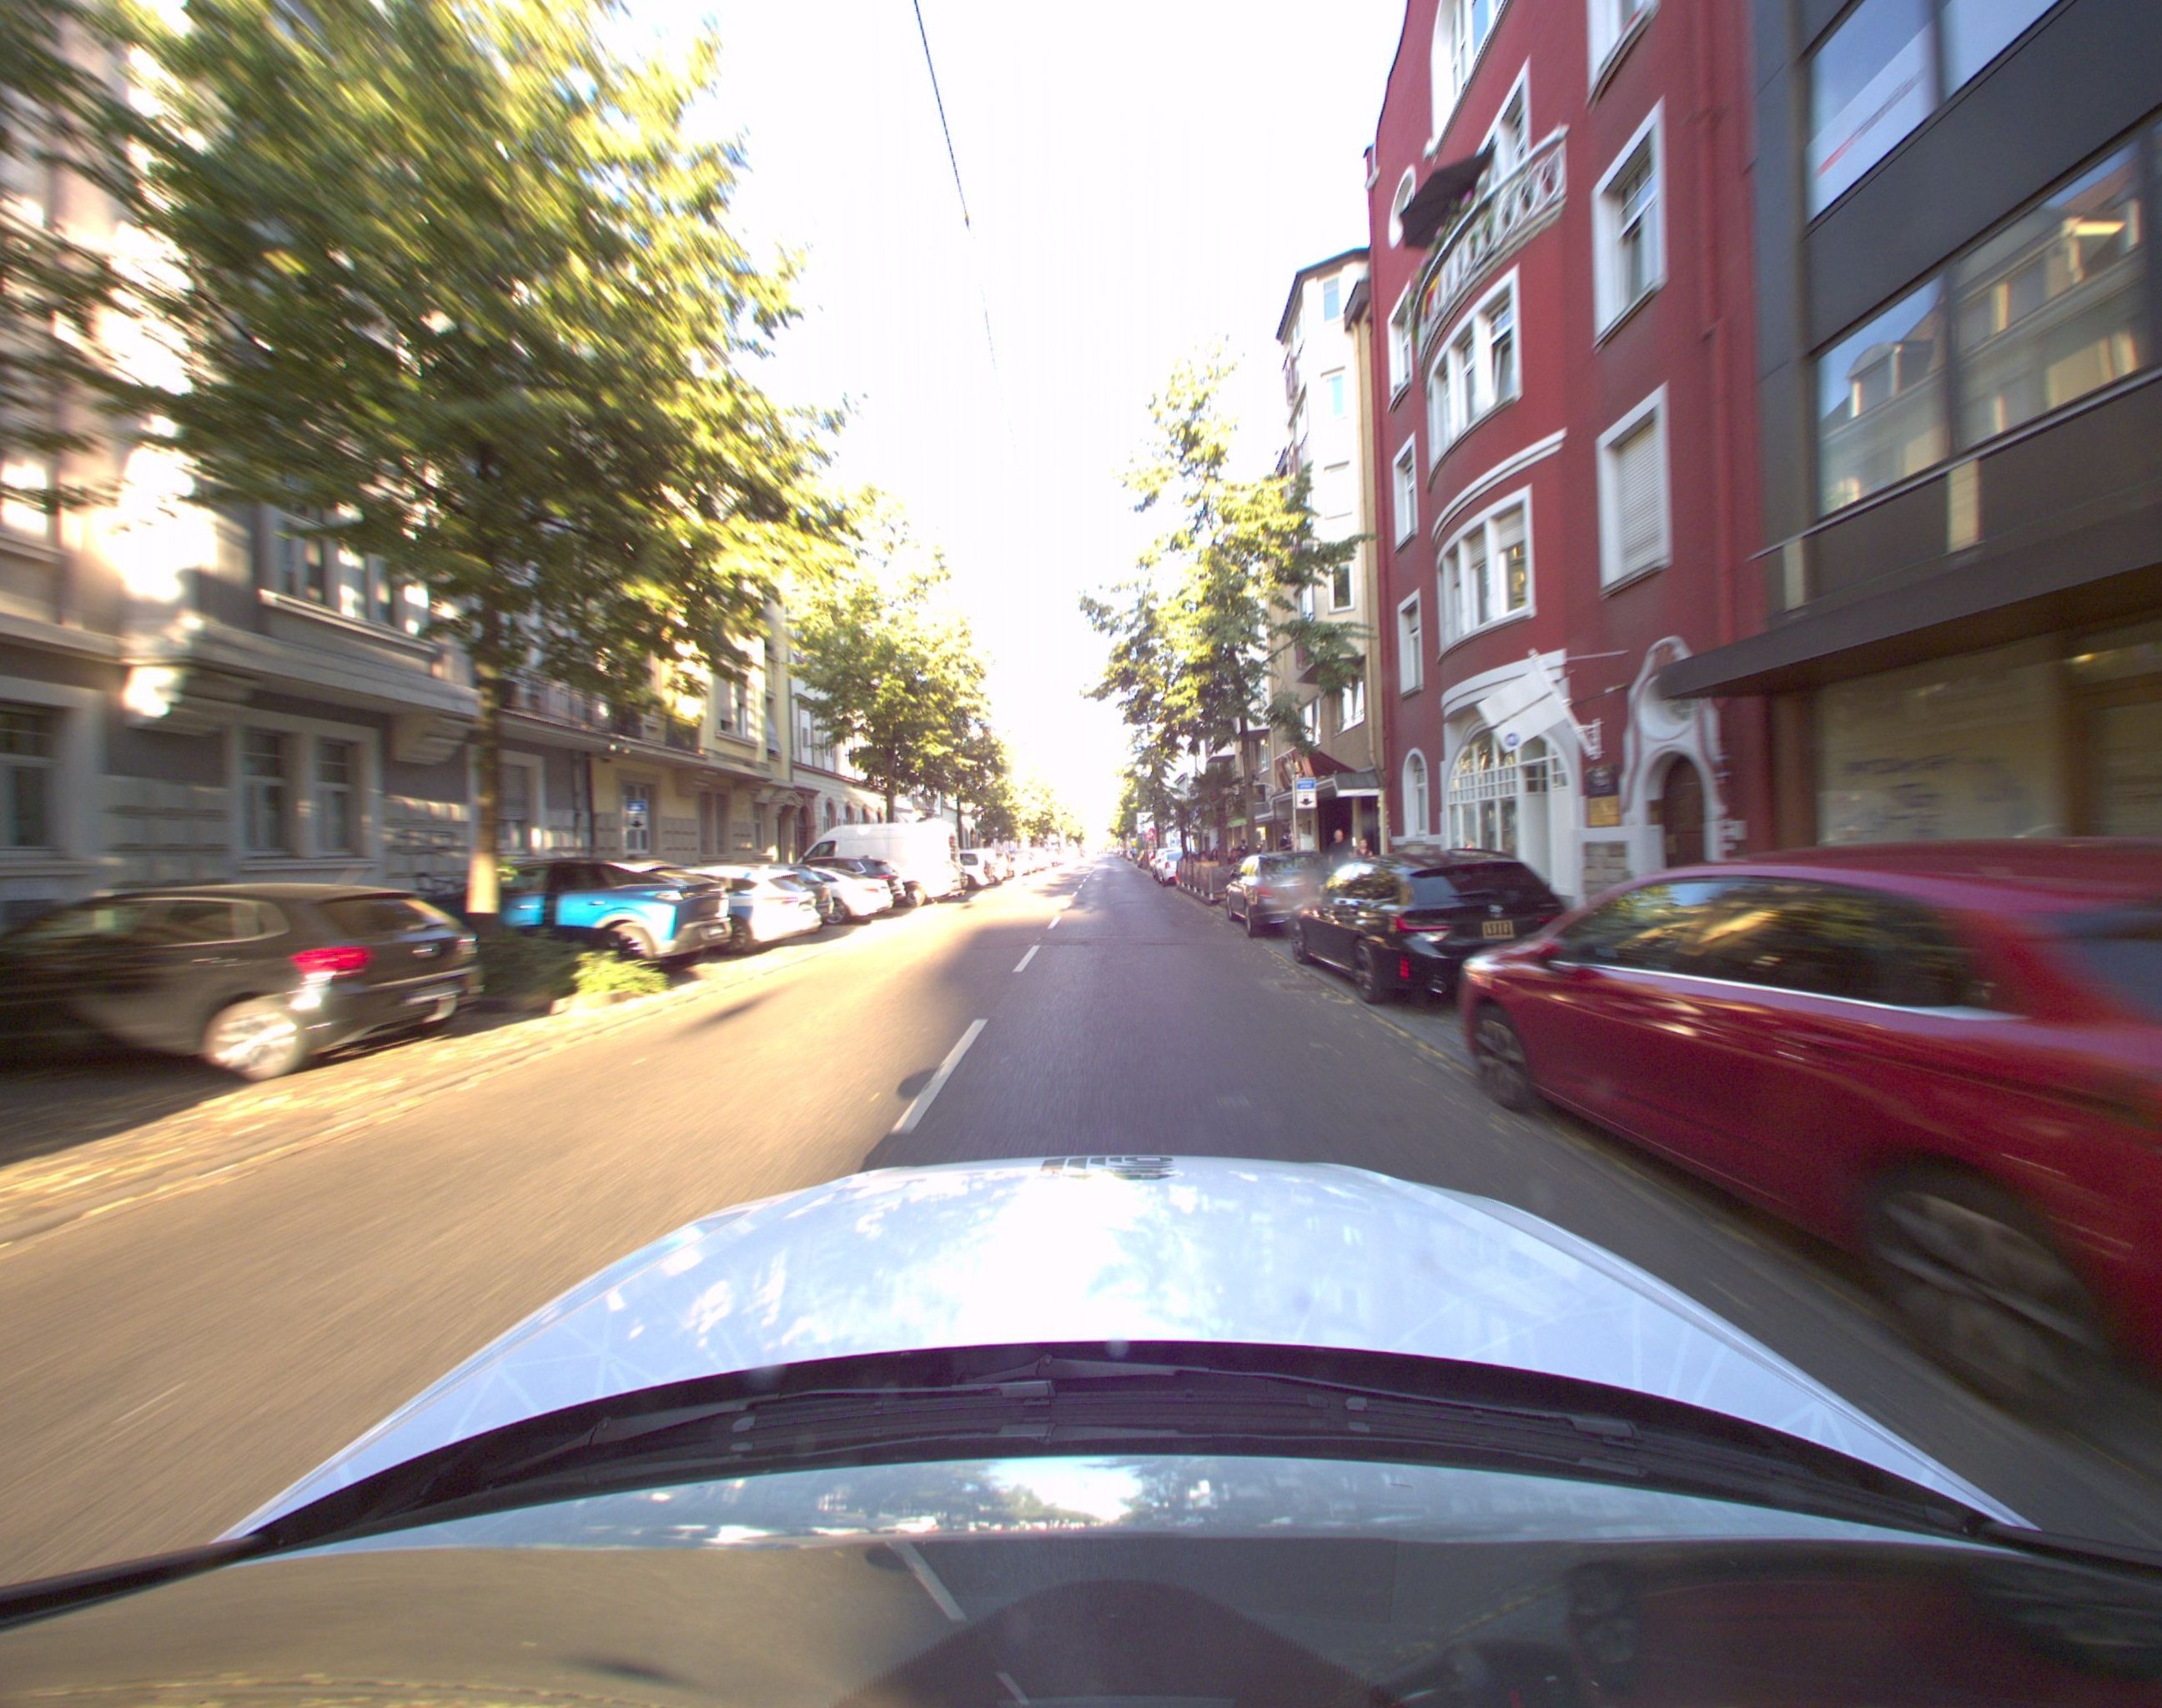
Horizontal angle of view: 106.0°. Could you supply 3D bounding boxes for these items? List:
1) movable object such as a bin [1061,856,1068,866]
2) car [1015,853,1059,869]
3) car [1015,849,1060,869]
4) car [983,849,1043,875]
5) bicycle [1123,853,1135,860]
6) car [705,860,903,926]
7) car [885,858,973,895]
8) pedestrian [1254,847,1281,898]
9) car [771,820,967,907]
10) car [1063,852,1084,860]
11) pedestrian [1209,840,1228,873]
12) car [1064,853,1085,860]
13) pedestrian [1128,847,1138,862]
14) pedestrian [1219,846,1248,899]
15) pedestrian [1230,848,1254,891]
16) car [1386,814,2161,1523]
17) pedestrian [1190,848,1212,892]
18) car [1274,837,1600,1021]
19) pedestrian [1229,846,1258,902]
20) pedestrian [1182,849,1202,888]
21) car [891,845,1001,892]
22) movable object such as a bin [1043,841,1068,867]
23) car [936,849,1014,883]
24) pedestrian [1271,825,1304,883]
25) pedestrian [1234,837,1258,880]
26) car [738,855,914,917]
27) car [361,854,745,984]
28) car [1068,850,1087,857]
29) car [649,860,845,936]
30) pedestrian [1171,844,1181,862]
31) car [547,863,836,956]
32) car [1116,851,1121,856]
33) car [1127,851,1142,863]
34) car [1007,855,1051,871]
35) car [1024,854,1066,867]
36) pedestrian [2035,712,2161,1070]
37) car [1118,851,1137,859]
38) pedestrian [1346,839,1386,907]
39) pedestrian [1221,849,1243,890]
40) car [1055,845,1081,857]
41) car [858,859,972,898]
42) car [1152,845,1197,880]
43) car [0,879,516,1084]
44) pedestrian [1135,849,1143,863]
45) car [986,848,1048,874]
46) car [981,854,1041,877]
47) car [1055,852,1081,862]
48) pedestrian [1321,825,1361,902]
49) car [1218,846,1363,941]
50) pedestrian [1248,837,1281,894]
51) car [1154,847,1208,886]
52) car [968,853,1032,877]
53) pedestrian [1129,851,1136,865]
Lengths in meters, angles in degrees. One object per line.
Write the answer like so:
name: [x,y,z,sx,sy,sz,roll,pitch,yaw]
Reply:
movable object such as a bin: [-1.899,0.846,94.657,0.687,1.105,0.884,-3,0,3]
car: [-4.315,0.640,80.097,4.317,1.501,1.840,-1,0,-4]
car: [-4.455,0.497,84.214,4.466,1.976,2.069,-1,0,2]
car: [-5.347,0.615,64.079,4.411,1.870,1.895,-2,0,2]
bicycle: [8.248,0.416,140.644,1.935,1.074,0.710,-2,0,33]
car: [-6.706,0.926,20.004,4.197,1.506,1.793,0,0,1]
car: [-6.324,0.908,34.149,3.360,1.467,1.712,0,0,-2]
pedestrian: [5.025,0.494,21.950,0.545,1.345,0.438,-4,0,2]
car: [-6.650,0.301,26.062,5.637,2.621,2.172,0,0,1]
car: [-1.534,0.386,171.417,4.425,1.568,1.920,-1,0,2]
pedestrian: [7.761,0.159,46.014,0.853,1.794,0.996,-3,0,-2]
car: [-1.334,0.540,177.940,4.425,1.448,1.920,-1,0,2]
pedestrian: [6.558,0.072,103.033,1.013,1.825,0.778,-4,0,-8]
pedestrian: [4.453,0.537,23.887,0.629,1.485,0.795,-4,0,2]
pedestrian: [5.327,0.513,26.986,0.575,1.384,0.718,-4,0,2]
car: [3.224,0.657,3.930,1.716,1.492,4.753,-4,0,1]
pedestrian: [4.010,0.527,27.146,0.575,1.384,0.603,-4,0,2]
car: [3.618,0.645,9.289,1.768,1.470,4.419,-4,0,1]
pedestrian: [4.439,0.538,22.279,0.575,1.462,0.603,-4,0,2]
pedestrian: [3.922,0.509,28.844,0.575,1.319,0.704,-4,0,2]
car: [-6.034,0.641,36.678,4.480,1.953,1.920,-1,0,3]
movable object such as a bin: [-3.143,-0.010,100.853,2.615,2.969,5.305,-2,0,2]
car: [-6.045,0.692,46.931,4.120,1.806,1.808,-2,0,3]
pedestrian: [6.974,-0.007,27.472,0.791,1.883,0.883,-2,1,28]
pedestrian: [6.752,0.174,33.325,0.785,1.704,0.701,-3,0,1]
car: [-6.984,0.859,22.599,4.196,1.600,1.977,0,0,2]
car: [-7.356,0.855,11.729,4.220,1.650,1.891,0,0,-3]
car: [-0.769,-0.100,195.320,4.425,1.759,1.920,-1,0,2]
car: [-7.077,0.906,17.487,3.391,1.510,1.849,0,0,5]
pedestrian: [10.172,-0.124,87.468,0.820,1.854,1.097,-4,0,0]
car: [-6.796,0.941,14.575,4.171,1.482,1.970,0,0,0]
car: [11.349,-0.190,244.936,1.507,1.276,3.306,-1,-1,3]
car: [7.129,0.389,108.981,1.680,1.575,4.015,-4,0,2]
car: [-4.859,0.846,77.065,3.905,1.501,1.907,-1,0,4]
car: [-4.048,0.738,92.680,4.573,1.470,1.895,-1,0,4]
pedestrian: [5.920,0.180,4.242,0.623,1.868,0.976,-5,0,2]
car: [9.445,0.224,165.395,1.654,1.588,3.846,-1,0,44]
pedestrian: [6.499,0.430,18.603,0.622,1.488,0.641,-3,0,2]
pedestrian: [5.277,0.527,28.483,0.575,1.384,0.603,-4,0,2]
car: [-2.265,-0.548,147.208,4.555,1.962,1.991,-1,0,1]
car: [-6.345,0.938,31.399,3.974,1.404,1.749,-1,-1,0]
car: [4.846,0.416,42.662,1.872,1.574,4.694,-4,0,2]
car: [-7.338,0.970,6.874,3.904,1.448,1.696,0,0,-1]
pedestrian: [7.558,0.284,105.481,0.657,1.700,0.660,-4,0,-42]
car: [-5.227,0.568,66.766,4.852,1.908,1.974,-2,0,1]
car: [-5.024,0.803,58.959,4.023,1.483,1.963,-2,0,1]
car: [-2.366,0.493,149.850,4.553,1.698,2.061,-1,0,2]
pedestrian: [5.816,0.212,18.242,0.622,1.677,0.641,-3,0,2]
car: [3.865,0.635,15.903,1.767,1.440,5.005,-4,0,4]
pedestrian: [5.351,0.340,23.830,0.705,1.598,0.795,-4,0,2]
car: [4.425,0.517,36.686,1.835,1.480,5.192,-4,0,2]
car: [-5.342,0.732,54.005,4.046,1.461,1.685,-2,0,-1]
pedestrian: [6.734,0.471,105.687,0.677,1.754,0.823,-2,-1,-9]
